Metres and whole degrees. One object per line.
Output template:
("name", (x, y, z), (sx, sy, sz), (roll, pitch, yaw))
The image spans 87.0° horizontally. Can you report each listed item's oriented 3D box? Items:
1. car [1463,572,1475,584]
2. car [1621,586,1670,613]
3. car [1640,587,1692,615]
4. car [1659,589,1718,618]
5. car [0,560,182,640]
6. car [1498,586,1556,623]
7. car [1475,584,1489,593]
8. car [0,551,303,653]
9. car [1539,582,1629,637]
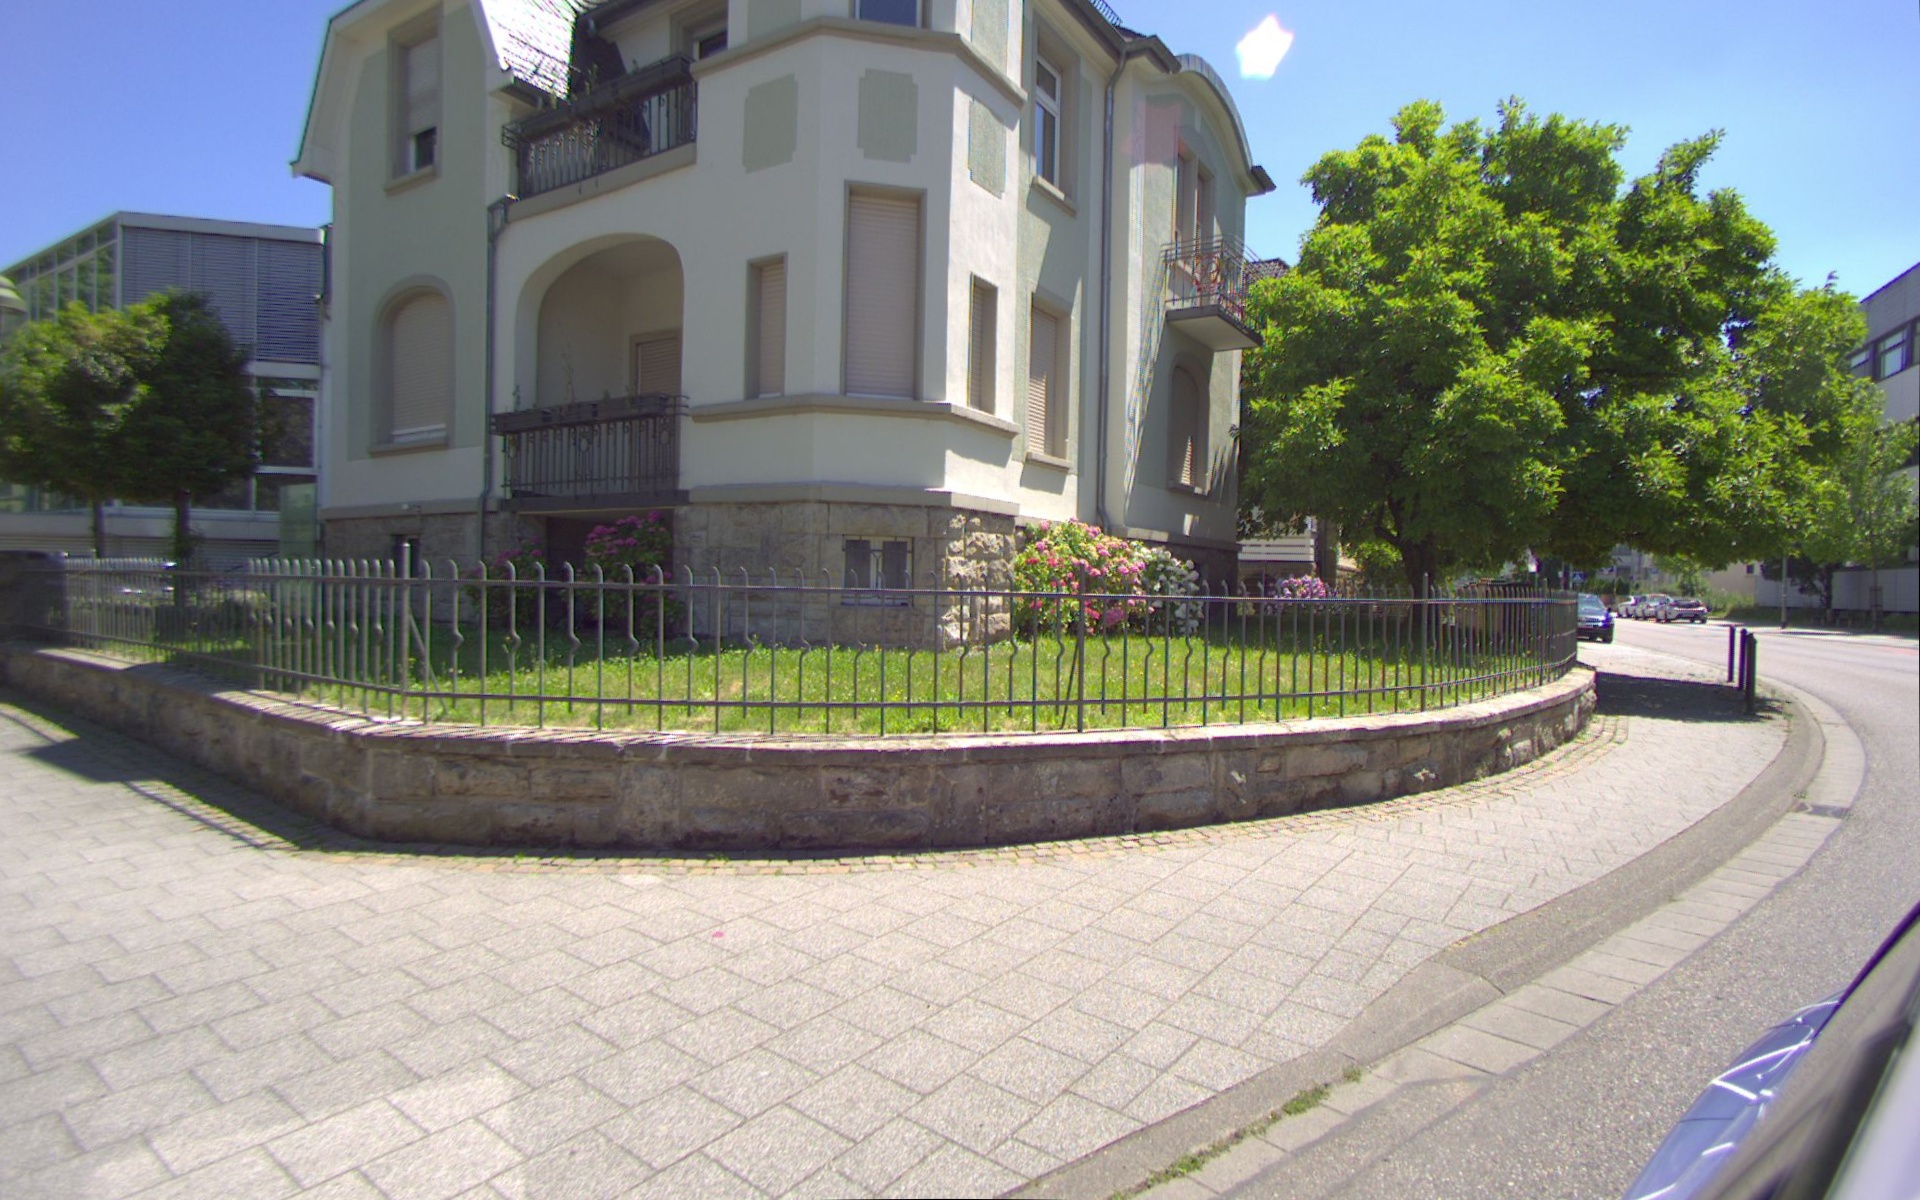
("car", (104.717, -4.429, 208.269), (1.993, 2.408, 3.964), (0, 0, 26))
("car", (43.032, -0.052, 63.615), (1.755, 1.560, 3.969), (2, 1, 23))
("car", (41.128, 0.034, 59.019), (1.727, 1.521, 3.705), (1, 1, 23))
("car", (38.941, 0.167, 54.195), (1.717, 1.468, 3.999), (0, 1, 23))
("car", (-17.132, -0.024, 18.786), (1.990, 1.409, 3.944), (1, 1, 39))
("car", (25.148, 0.163, 45.010), (1.755, 1.561, 3.969), (2, 1, 23))
("car", (92.437, -2.031, 179.158), (1.979, 1.652, 3.965), (0, 0, 25))
("car", (-14.379, -0.010, 18.106), (1.982, 1.587, 3.961), (2, 1, 28))
("car", (19.427, 0.250, 31.646), (1.755, 1.561, 3.969), (1, 1, 23))
